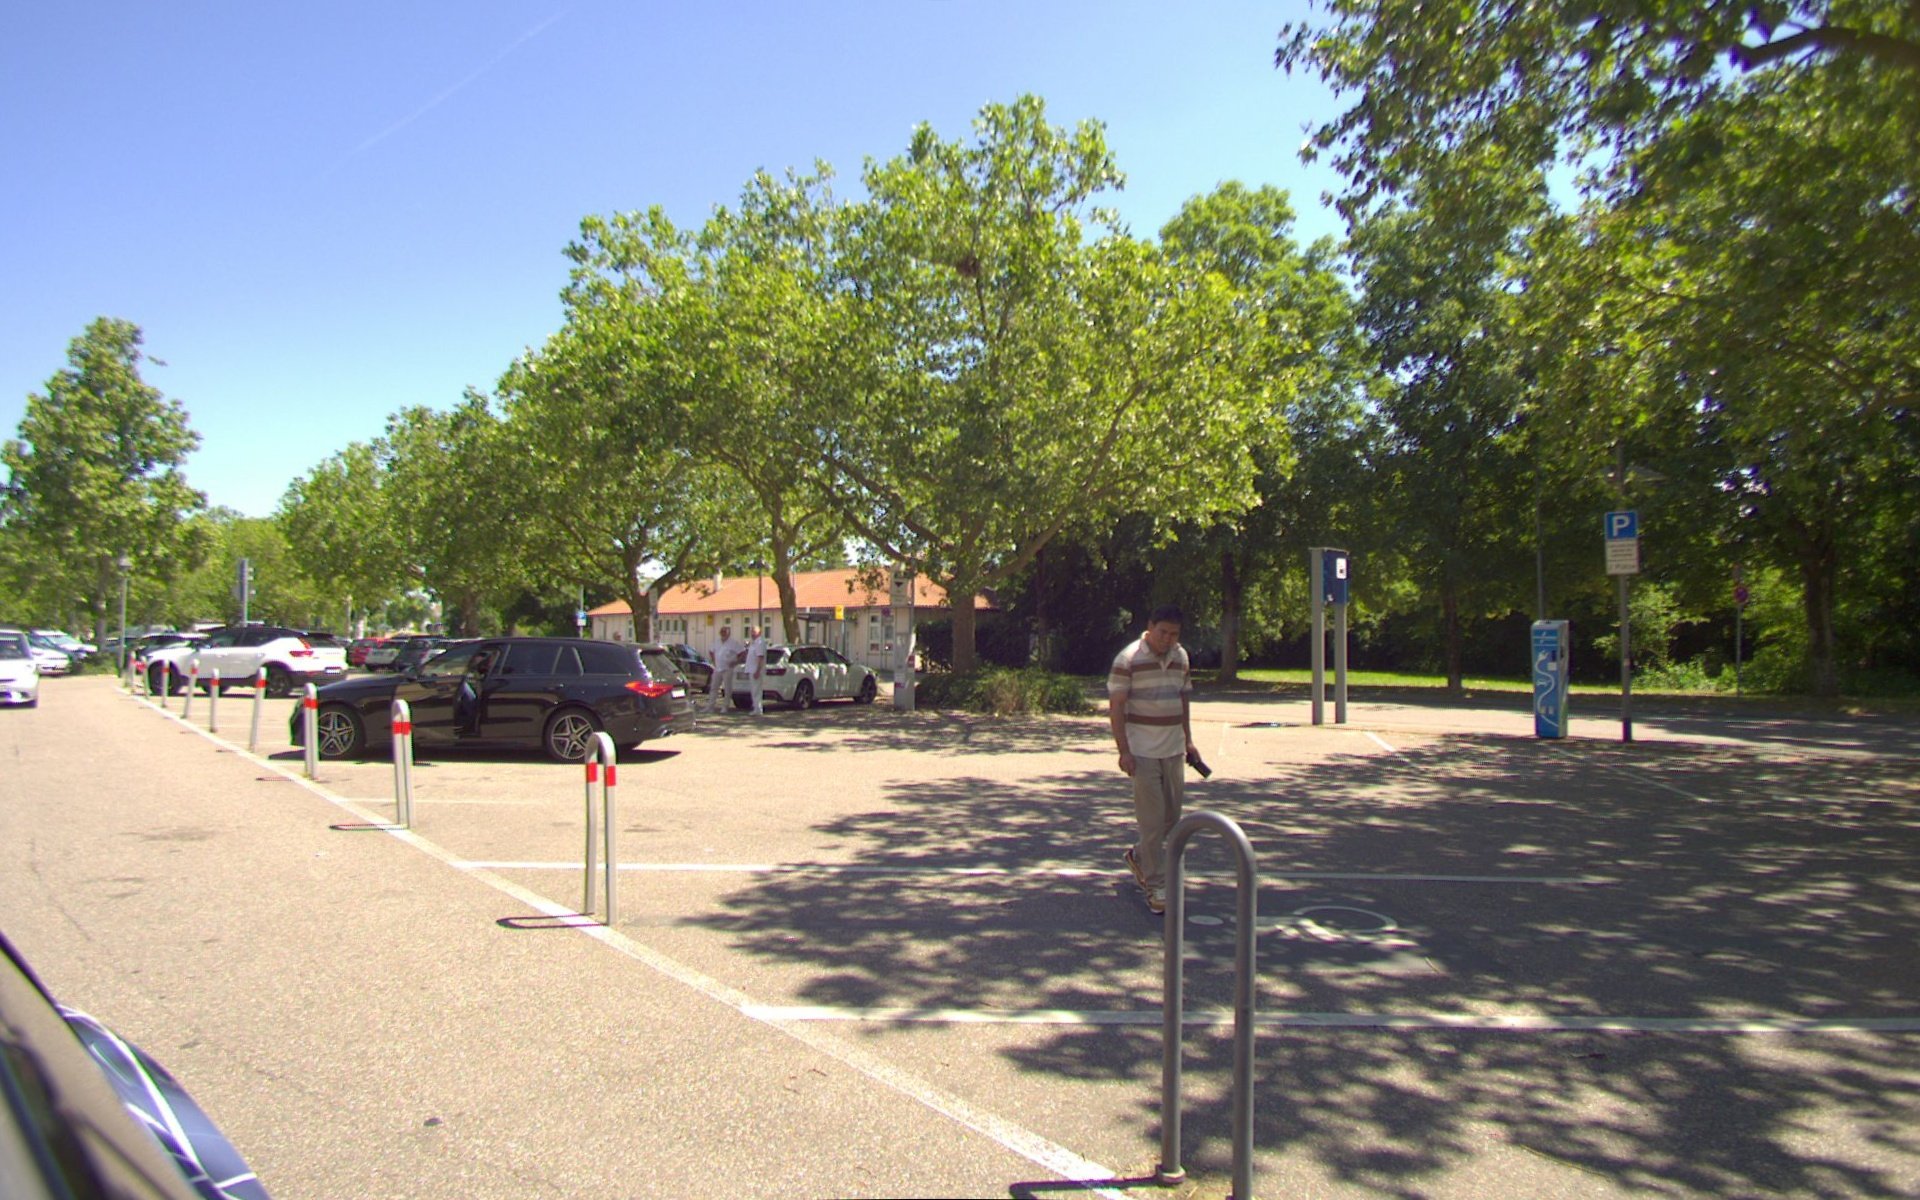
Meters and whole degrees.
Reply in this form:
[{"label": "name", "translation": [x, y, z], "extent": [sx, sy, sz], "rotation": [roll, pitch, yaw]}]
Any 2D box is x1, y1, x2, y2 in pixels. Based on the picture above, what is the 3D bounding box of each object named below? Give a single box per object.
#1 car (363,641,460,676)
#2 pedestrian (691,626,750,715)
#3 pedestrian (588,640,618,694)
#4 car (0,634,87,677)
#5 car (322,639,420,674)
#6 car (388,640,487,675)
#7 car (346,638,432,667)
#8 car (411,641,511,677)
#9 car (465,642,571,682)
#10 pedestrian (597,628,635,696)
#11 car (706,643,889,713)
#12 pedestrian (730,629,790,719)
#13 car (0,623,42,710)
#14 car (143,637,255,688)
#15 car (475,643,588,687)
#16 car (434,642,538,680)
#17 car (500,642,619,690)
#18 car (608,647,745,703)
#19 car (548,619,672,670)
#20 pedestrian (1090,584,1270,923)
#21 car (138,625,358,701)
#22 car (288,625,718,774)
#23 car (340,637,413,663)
[{"label": "car", "translation": [-24.886, 2.632, 46.068], "extent": [1.623, 1.471, 3.854], "rotation": [0, -2, 18]}, {"label": "pedestrian", "translation": [-4.960, 1.441, 20.972], "extent": [0.847, 1.784, 0.831], "rotation": [-1, -3, 27]}, {"label": "pedestrian", "translation": [-9.539, 1.776, 27.024], "extent": [0.679, 1.435, 0.803], "rotation": [1, -3, -22]}, {"label": "car", "translation": [-32.338, 1.892, 34.510], "extent": [3.461, 1.414, 1.805], "rotation": [0, -3, -3]}, {"label": "car", "translation": [-27.492, 2.615, 47.374], "extent": [1.623, 1.587, 3.854], "rotation": [0, -2, 18]}, {"label": "car", "translation": [-23.002, 2.517, 44.704], "extent": [1.623, 1.471, 3.854], "rotation": [0, -2, 18]}, {"label": "car", "translation": [-29.975, 2.719, 53.265], "extent": [1.623, 1.458, 3.854], "rotation": [0, -2, 18]}, {"label": "car", "translation": [-21.211, 2.491, 43.193], "extent": [1.623, 1.471, 3.854], "rotation": [0, -2, 18]}, {"label": "car", "translation": [-17.042, 2.366, 39.237], "extent": [1.623, 1.471, 3.854], "rotation": [0, -2, 18]}, {"label": "pedestrian", "translation": [-8.012, 1.433, 23.572], "extent": [0.610, 1.560, 0.581], "rotation": [-2, -4, 42]}, {"label": "car", "translation": [-3.601, 1.719, 23.458], "extent": [1.777, 1.428, 4.734], "rotation": [-1, -2, 27]}, {"label": "pedestrian", "translation": [-4.040, 1.476, 20.499], "extent": [0.847, 1.784, 0.831], "rotation": [-1, -3, 26]}, {"label": "car", "translation": [-18.953, 1.254, 19.572], "extent": [3.108, 1.605, 1.578], "rotation": [-2, -3, 45]}, {"label": "car", "translation": [-29.849, 2.400, 39.675], "extent": [3.974, 1.908, 1.725], "rotation": [-1, -3, 23]}, {"label": "car", "translation": [-15.411, 2.304, 36.597], "extent": [1.623, 1.471, 3.854], "rotation": [0, -2, 18]}, {"label": "car", "translation": [-19.124, 2.442, 41.014], "extent": [1.623, 1.471, 3.854], "rotation": [0, -2, 18]}, {"label": "car", "translation": [-13.285, 2.163, 33.823], "extent": [1.623, 1.471, 3.854], "rotation": [0, -2, 18]}, {"label": "car", "translation": [-7.856, 2.058, 28.443], "extent": [1.862, 1.416, 4.005], "rotation": [0, -2, 16]}, {"label": "car", "translation": [-10.662, 1.352, 31.115], "extent": [1.623, 1.471, 3.854], "rotation": [0, -2, 18]}, {"label": "pedestrian", "translation": [1.179, 0.798, 5.592], "extent": [0.803, 1.730, 0.774], "rotation": [0, -2, -1]}, {"label": "car", "translation": [-17.044, 1.482, 24.360], "extent": [4.008, 1.617, 1.800], "rotation": [2, -1, 1]}, {"label": "car", "translation": [-5.445, 1.160, 12.474], "extent": [4.466, 1.555, 1.801], "rotation": [2, -1, 0]}, {"label": "car", "translation": [-31.641, 2.702, 54.943], "extent": [1.464, 1.405, 3.118], "rotation": [-1, -3, 40]}]
